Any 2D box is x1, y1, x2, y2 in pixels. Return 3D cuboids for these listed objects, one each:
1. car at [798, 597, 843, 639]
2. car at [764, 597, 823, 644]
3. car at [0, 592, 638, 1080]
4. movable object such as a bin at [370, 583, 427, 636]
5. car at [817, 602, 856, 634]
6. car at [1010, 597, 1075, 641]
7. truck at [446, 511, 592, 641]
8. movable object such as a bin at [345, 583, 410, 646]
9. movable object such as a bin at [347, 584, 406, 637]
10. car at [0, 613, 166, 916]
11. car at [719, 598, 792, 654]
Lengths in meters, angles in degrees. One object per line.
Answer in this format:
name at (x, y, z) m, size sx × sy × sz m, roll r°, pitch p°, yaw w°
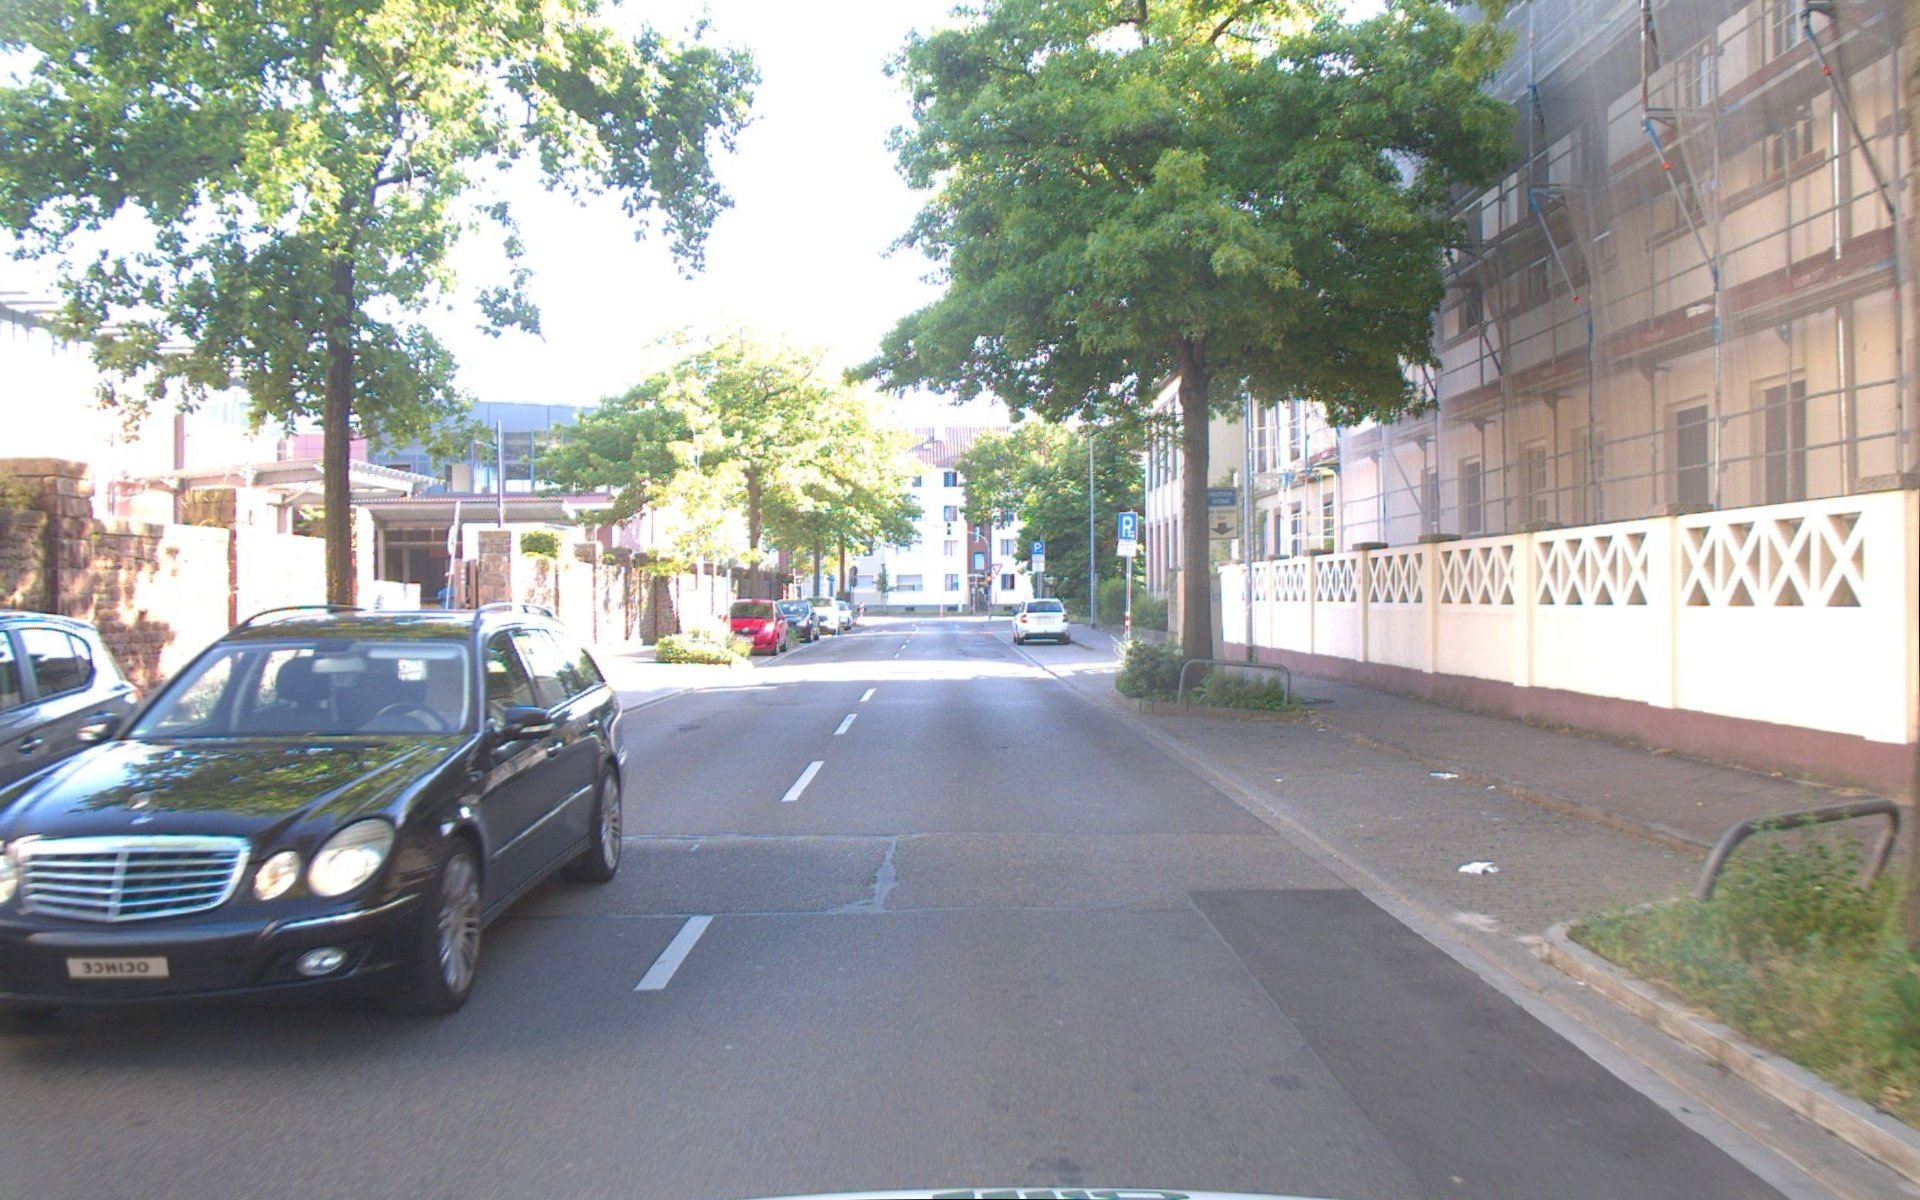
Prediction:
car at (-5.954, 0.742, 70.925) m, size 1.685 × 1.713 × 4.349 m, roll -1°, pitch 0°, yaw -2°
car at (-6.012, 0.723, 60.134) m, size 1.701 × 1.620 × 4.107 m, roll 0°, pitch 0°, yaw 1°
car at (-2.619, 0.731, 7.143) m, size 1.785 × 1.461 × 3.967 m, roll -2°, pitch 0°, yaw -3°
movable object such as a bin at (-19.695, 0.333, 58.048) m, size 1.181 × 1.812 × 2.672 m, roll 1°, pitch 0°, yaw -3°
car at (-6.198, 0.891, 83.294) m, size 1.691 × 1.501 × 4.477 m, roll 1°, pitch 0°, yaw -1°
car at (2.696, 0.604, 54.702) m, size 1.795 × 1.346 × 4.495 m, roll -1°, pitch 0°, yaw -1°
truck at (-13.832, -0.689, 52.481) m, size 2.677 × 3.776 × 7.426 m, roll 1°, pitch 0°, yaw -1°
movable object such as a bin at (-18.182, 0.434, 51.691) m, size 1.167 × 1.897 × 2.438 m, roll 1°, pitch 0°, yaw -1°
movable object such as a bin at (-19.555, 0.337, 55.473) m, size 1.181 × 1.716 × 2.437 m, roll 1°, pitch 0°, yaw -3°
car at (-5.513, 0.804, 8.080) m, size 1.654 × 1.446 × 3.835 m, roll 1°, pitch 0°, yaw -5°
car at (-5.749, 0.714, 46.828) m, size 1.576 × 1.484 × 3.708 m, roll 1°, pitch 0°, yaw 0°
